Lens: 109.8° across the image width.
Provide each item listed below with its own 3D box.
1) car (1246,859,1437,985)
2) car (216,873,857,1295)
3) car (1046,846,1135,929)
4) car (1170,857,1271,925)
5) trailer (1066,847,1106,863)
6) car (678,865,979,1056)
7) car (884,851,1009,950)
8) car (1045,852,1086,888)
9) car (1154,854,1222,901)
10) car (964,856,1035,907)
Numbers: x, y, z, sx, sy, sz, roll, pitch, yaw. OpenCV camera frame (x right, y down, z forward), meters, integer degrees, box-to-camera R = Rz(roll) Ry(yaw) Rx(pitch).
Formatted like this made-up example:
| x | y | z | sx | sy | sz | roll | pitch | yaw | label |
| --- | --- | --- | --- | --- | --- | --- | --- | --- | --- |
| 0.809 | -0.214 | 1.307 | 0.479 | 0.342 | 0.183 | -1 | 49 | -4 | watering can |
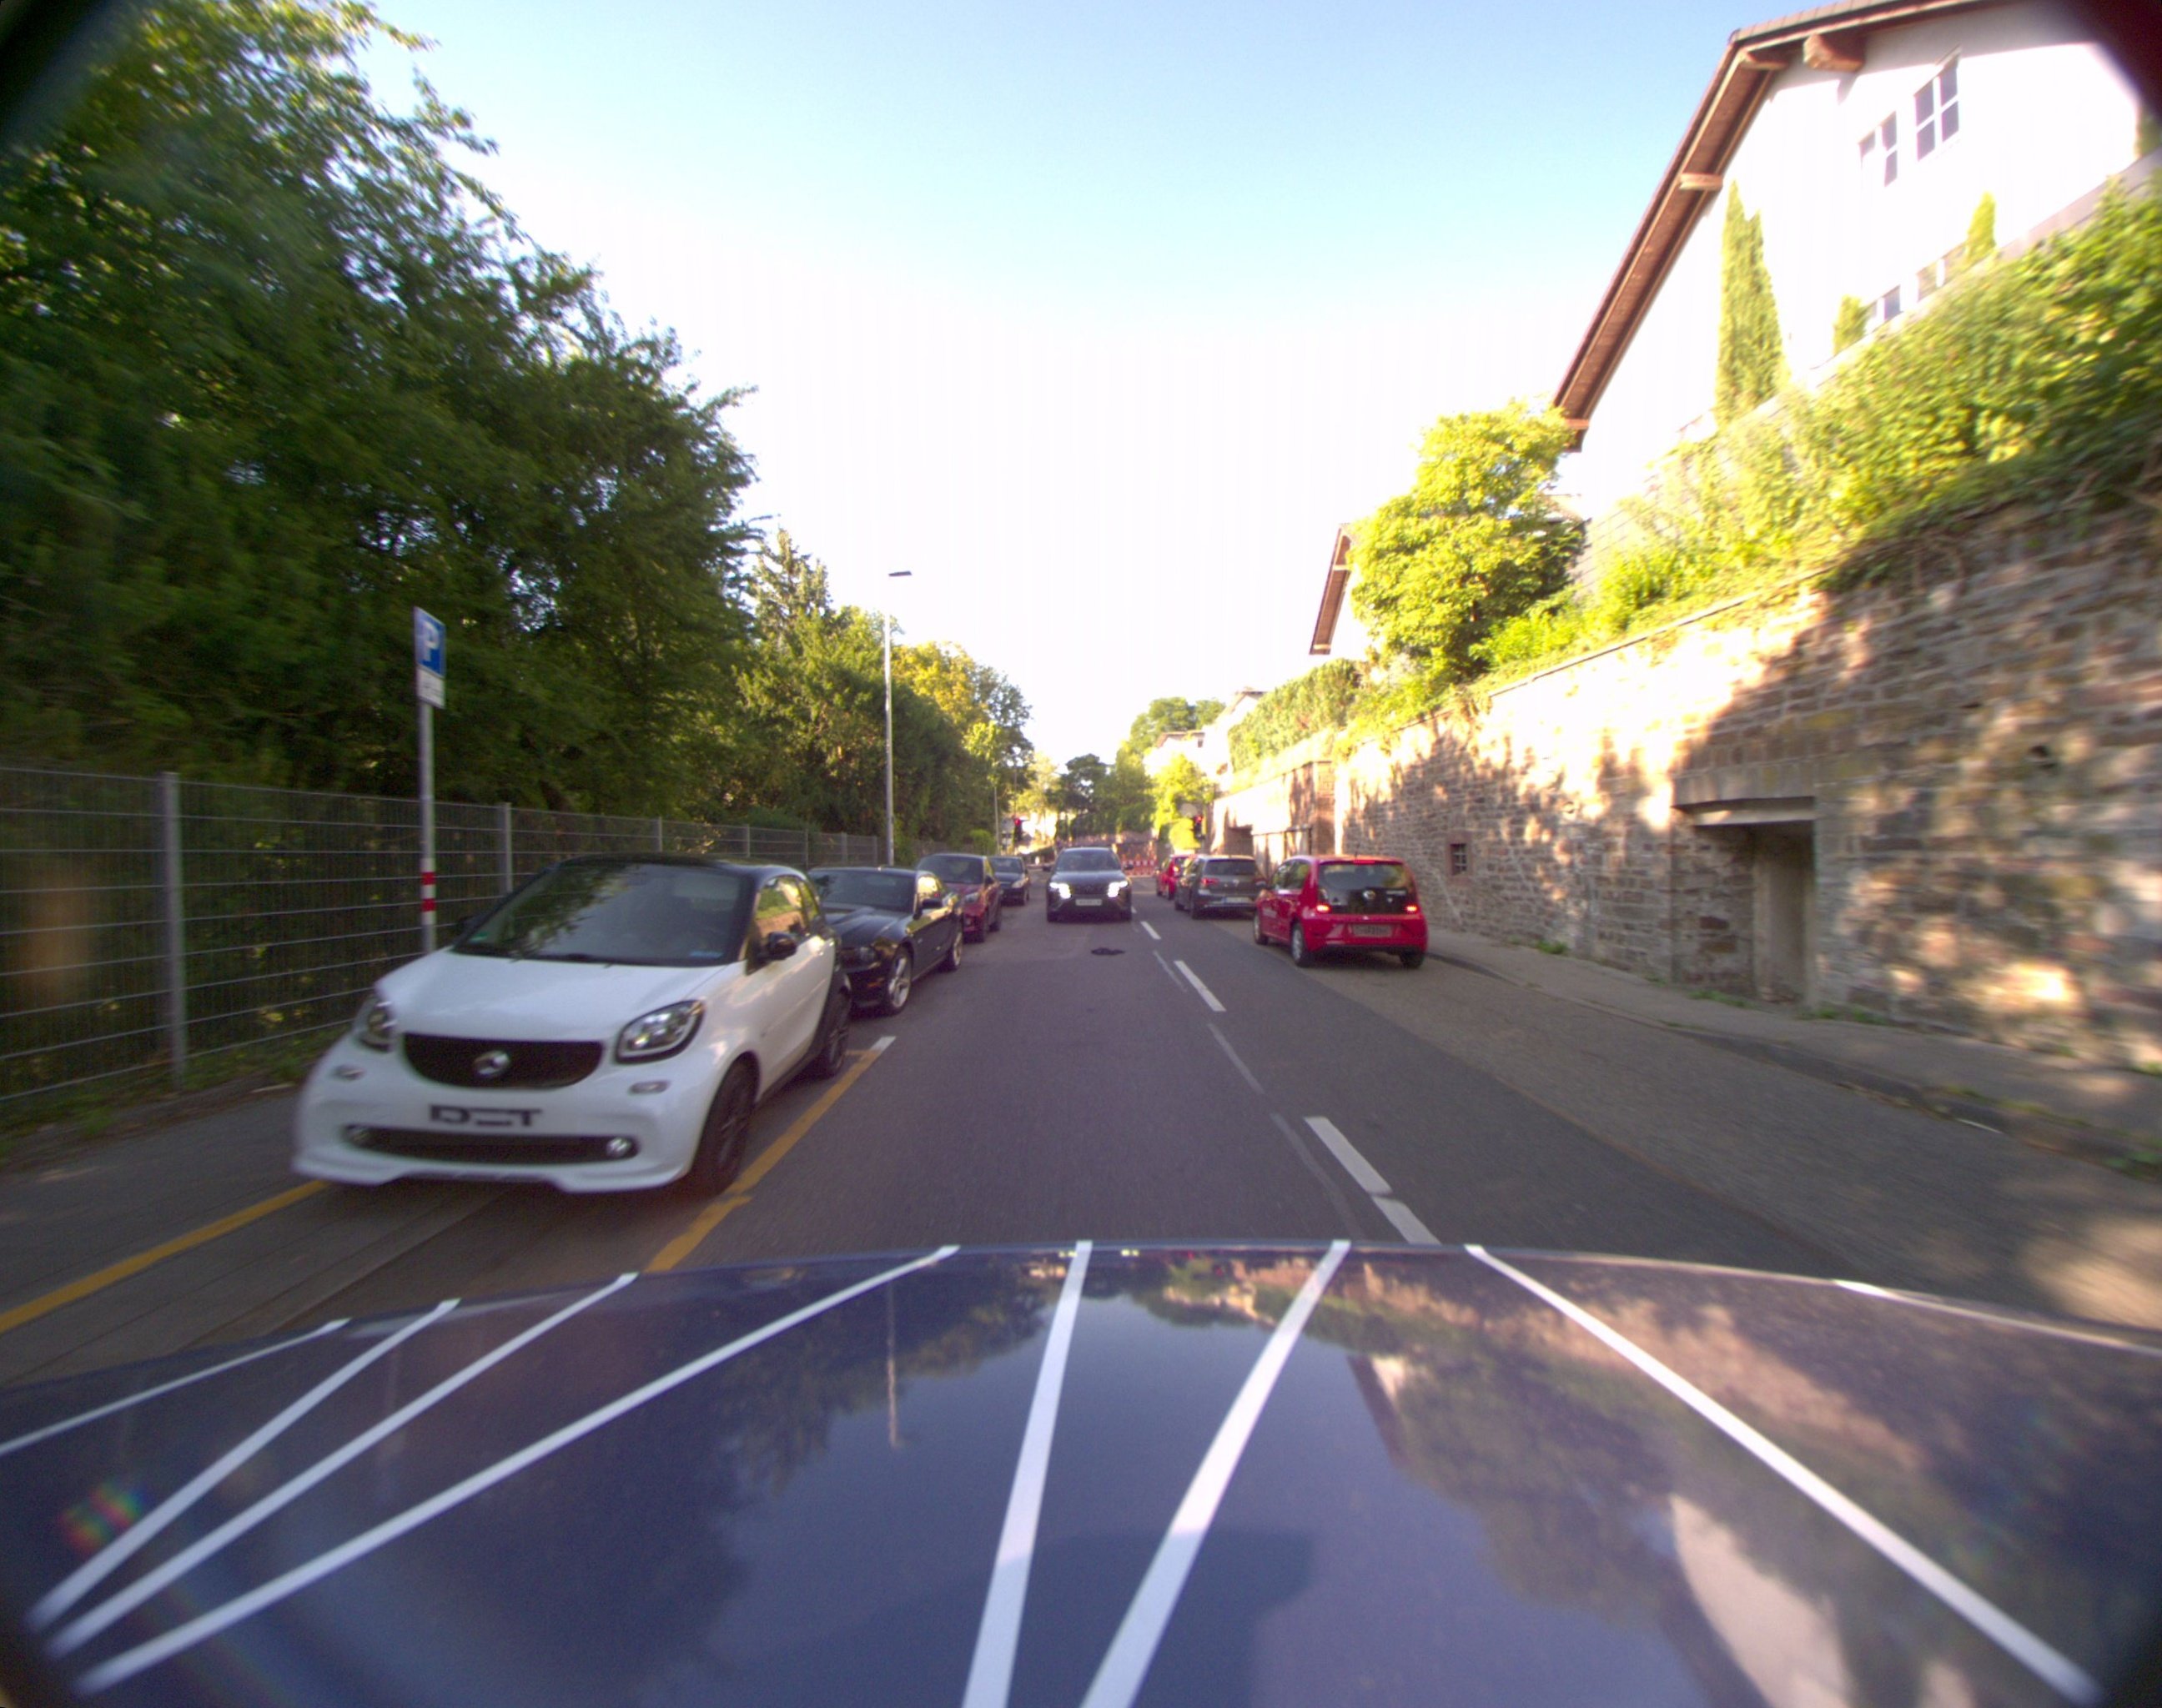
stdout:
| x | y | z | sx | sy | sz | roll | pitch | yaw | label |
| --- | --- | --- | --- | --- | --- | --- | --- | --- | --- |
| 3.568 | 0.846 | 11.065 | 1.554 | 1.457 | 3.568 | 1 | 1 | 0 | car |
| -2.449 | 0.903 | 4.301 | 1.629 | 1.501 | 2.902 | 1 | 0 | -4 | car |
| 0.105 | 0.676 | 18.010 | 1.788 | 1.639 | 4.472 | -2 | 1 | -2 | car |
| 3.214 | 0.786 | 18.157 | 1.653 | 1.403 | 3.930 | 0 | 1 | -1 | car |
| 0.438 | 0.126 | 78.306 | 2.649 | 1.481 | 7.110 | -2 | 1 | -11 | trailer |
| -2.517 | 0.968 | 9.006 | 1.714 | 1.489 | 4.814 | -3 | 0 | 2 | car |
| -2.426 | 0.788 | 14.336 | 1.657 | 1.555 | 2.872 | 4 | 1 | 2 | car |
| -0.673 | 0.692 | 34.826 | 1.662 | 1.468 | 3.683 | -2 | 1 | 2 | car |
| 3.463 | 0.732 | 25.164 | 1.631 | 1.413 | 3.562 | 0 | 1 | -2 | car |
| -2.473 | 0.788 | 23.996 | 1.799 | 1.432 | 3.999 | 0 | 0 | 0 | car |
